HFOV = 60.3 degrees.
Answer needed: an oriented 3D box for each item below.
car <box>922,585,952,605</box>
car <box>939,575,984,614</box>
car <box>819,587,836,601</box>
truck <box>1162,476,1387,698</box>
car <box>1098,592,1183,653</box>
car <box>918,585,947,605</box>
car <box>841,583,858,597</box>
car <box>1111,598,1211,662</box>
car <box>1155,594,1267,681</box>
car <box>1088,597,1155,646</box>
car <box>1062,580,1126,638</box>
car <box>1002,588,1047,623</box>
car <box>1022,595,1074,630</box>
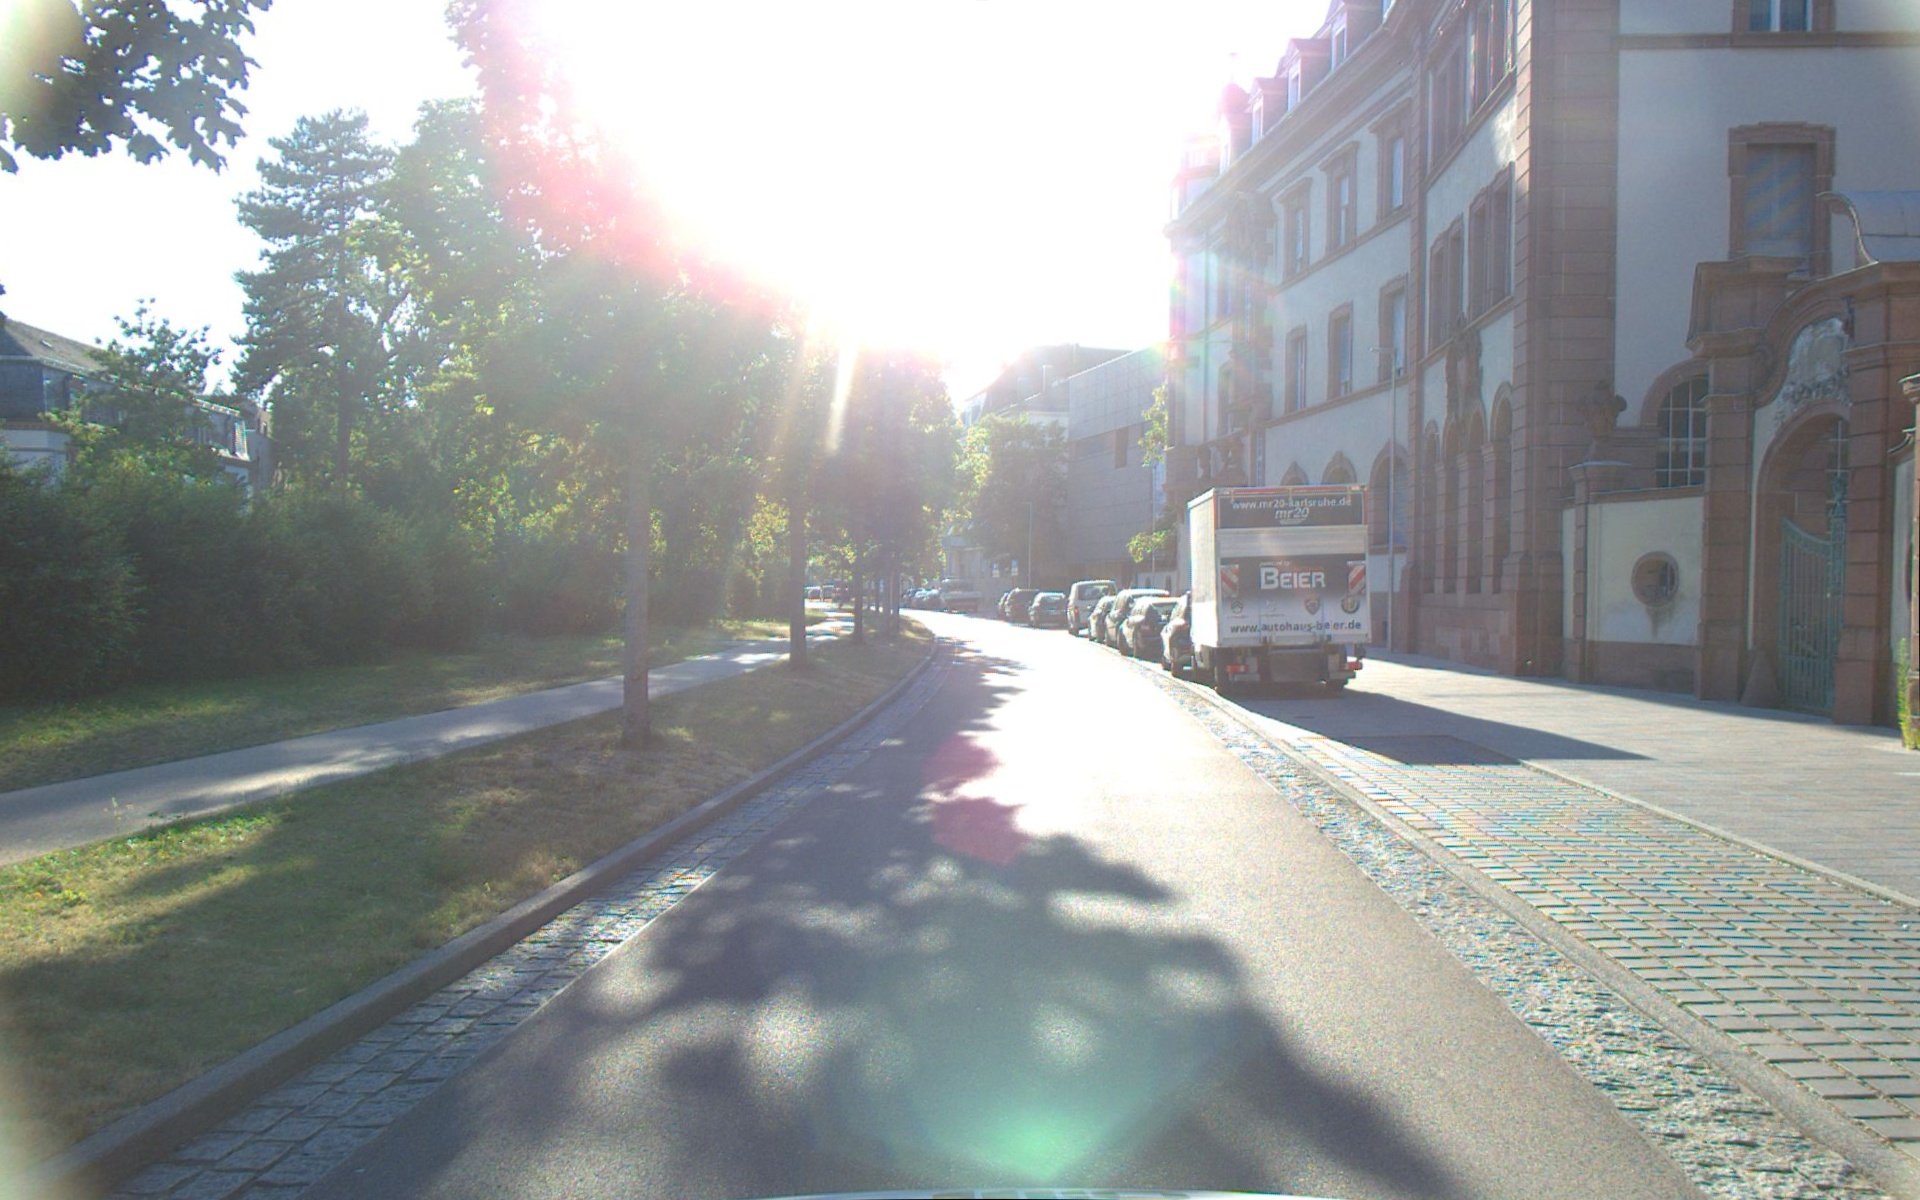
[{"bbox_3d":[-1.755,-0.364,125.285,1.660,1.465,3.542,-1,1,-10],"label":"car"},{"bbox_3d":[0.074,-0.394,114.363,2.170,2.574,6.136,-2,1,-8],"label":"car"},{"bbox_3d":[-16.175,-0.747,202.023,1.760,1.754,3.993,1,0,-8],"label":"car"},{"bbox_3d":[4.933,-0.206,27.053,2.569,3.175,6.088,-1,0,1],"label":"truck"},{"bbox_3d":[5.112,0.604,47.355,1.779,1.630,4.190,-1,0,-2],"label":"car"},{"bbox_3d":[-2.155,-0.417,130.000,1.660,1.465,4.094,-1,1,-10],"label":"car"},{"bbox_3d":[-12.574,-1.141,188.516,1.759,1.536,3.995,1,0,-6],"label":"car"},{"bbox_3d":[5.022,0.720,41.825,1.834,1.461,4.521,-1,0,-2],"label":"car"},{"bbox_3d":[4.910,0.689,32.925,1.731,1.557,4.574,-2,0,3],"label":"car"},{"bbox_3d":[5.087,0.648,52.420,1.645,1.427,4.199,-1,0,-1],"label":"car"},{"bbox_3d":[5.066,0.323,63.079,1.953,2.000,4.849,-3,0,0],"label":"car"},{"bbox_3d":[3.300,0.248,85.390,1.691,1.698,4.108,-1,1,-6],"label":"car"},{"bbox_3d":[3.947,0.530,75.032,1.713,1.492,4.473,1,0,-5],"label":"car"}]
